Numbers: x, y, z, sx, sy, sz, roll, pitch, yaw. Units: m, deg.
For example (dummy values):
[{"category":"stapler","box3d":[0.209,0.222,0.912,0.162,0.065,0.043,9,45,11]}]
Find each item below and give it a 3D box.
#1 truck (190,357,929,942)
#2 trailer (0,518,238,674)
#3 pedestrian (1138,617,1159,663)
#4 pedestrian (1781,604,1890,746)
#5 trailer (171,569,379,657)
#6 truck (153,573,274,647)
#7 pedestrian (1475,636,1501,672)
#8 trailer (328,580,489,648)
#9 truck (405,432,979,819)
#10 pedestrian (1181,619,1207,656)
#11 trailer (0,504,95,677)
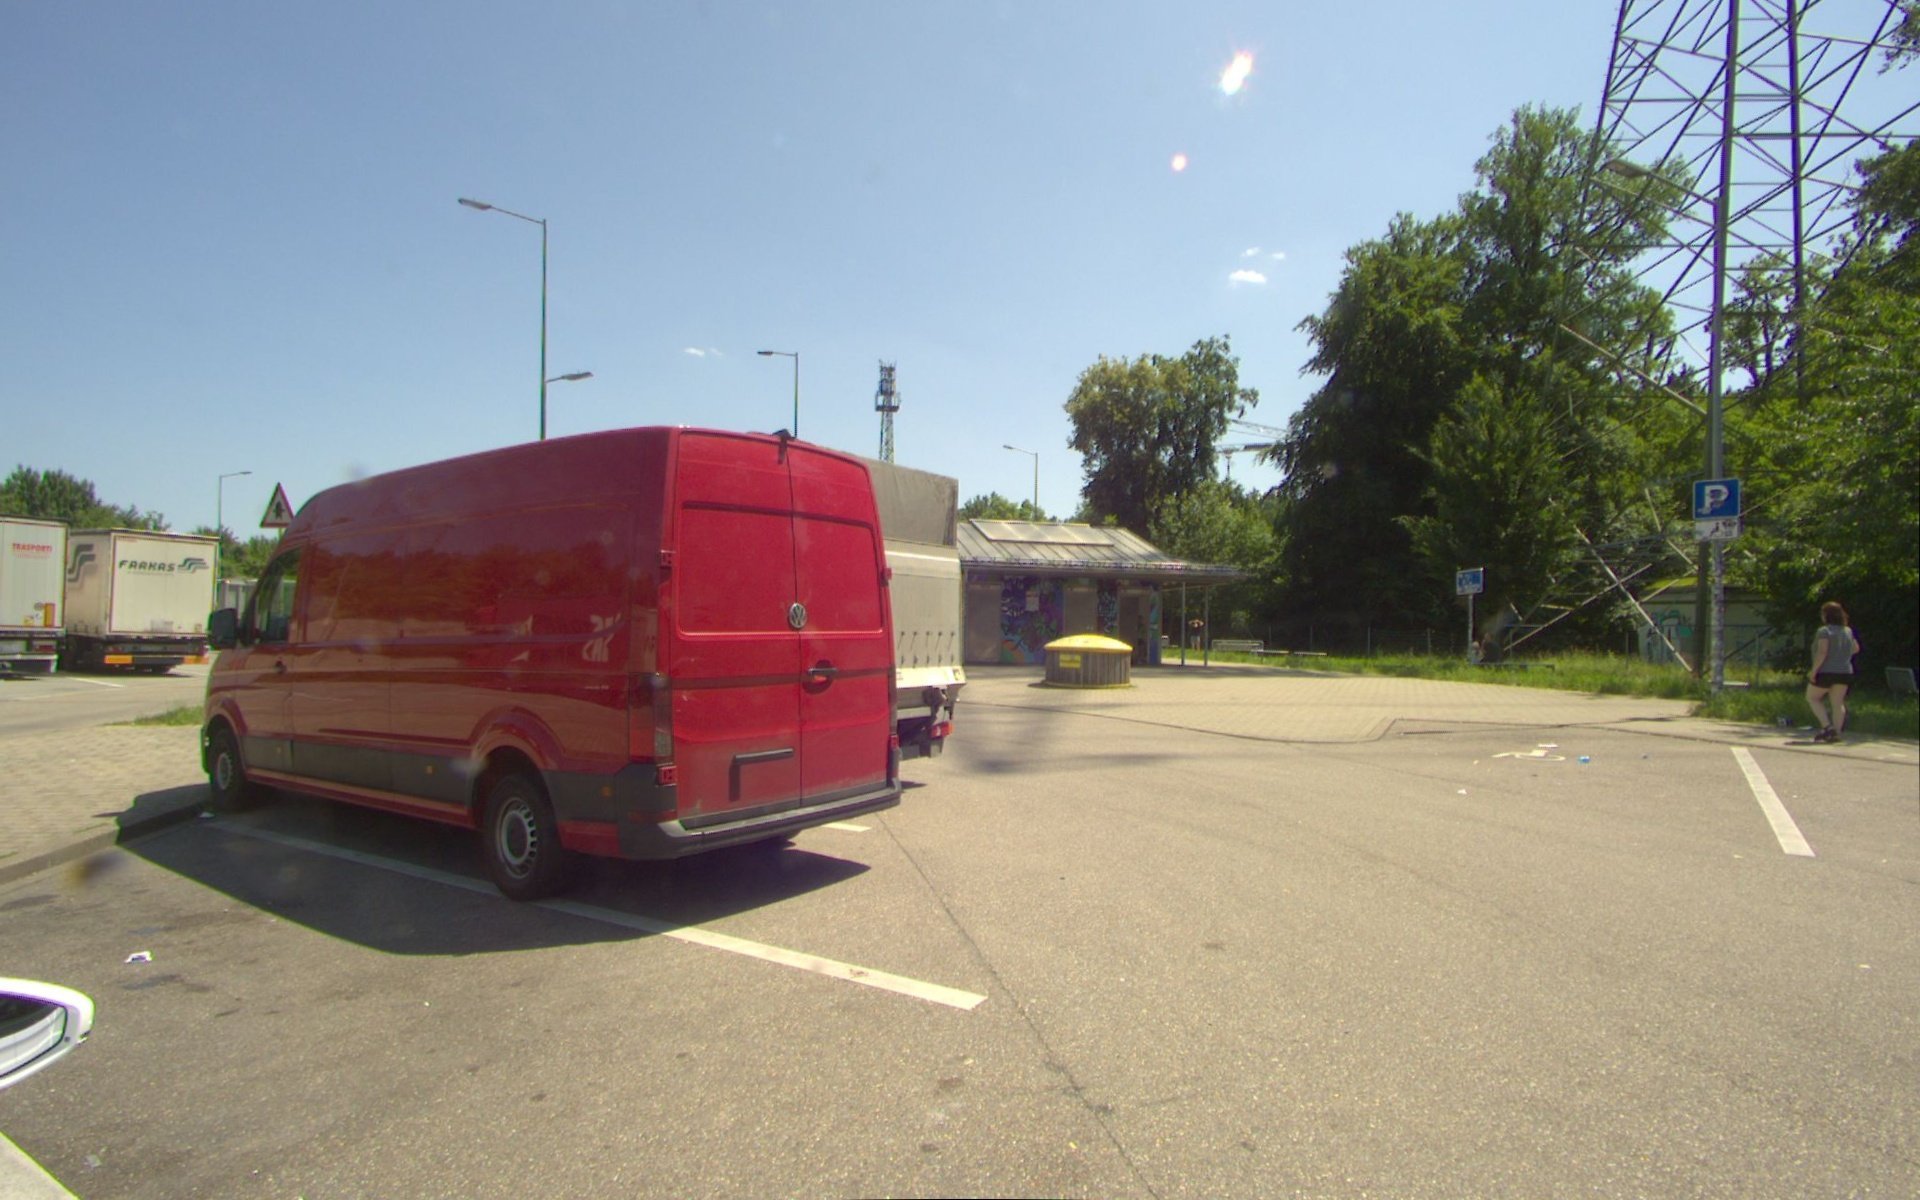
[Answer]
[{"category":"truck","box3d":[-3.327,0.300,7.323,6.372,2.685,2.005,-1,-2,37]},{"category":"trailer","box3d":[-27.603,-0.165,31.595,13.561,4.162,2.854,1,-2,32]},{"category":"pedestrian","box3d":[5.816,1.228,30.950,0.532,1.392,0.583,0,-1,0]},{"category":"pedestrian","box3d":[10.638,0.898,12.191,0.674,1.670,0.715,0,-1,-10]},{"category":"trailer","box3d":[-32.465,0.491,47.085,13.561,3.646,2.854,1,-2,32]},{"category":"truck","box3d":[-37.536,0.482,50.309,5.887,3.406,2.862,1,-2,32]},{"category":"pedestrian","box3d":[14.655,1.491,27.801,0.439,0.987,0.460,0,-1,-19]},{"category":"trailer","box3d":[-36.157,0.854,65.325,13.561,3.955,2.854,1,-2,32]},{"category":"truck","box3d":[-3.076,0.272,10.507,6.372,2.944,2.411,-1,-2,37]},{"category":"pedestrian","box3d":[10.503,1.685,44.901,0.805,1.639,0.913,-1,-2,43]},{"category":"trailer","box3d":[-28.676,-0.338,28.008,13.561,4.162,2.854,1,-2,32]}]
